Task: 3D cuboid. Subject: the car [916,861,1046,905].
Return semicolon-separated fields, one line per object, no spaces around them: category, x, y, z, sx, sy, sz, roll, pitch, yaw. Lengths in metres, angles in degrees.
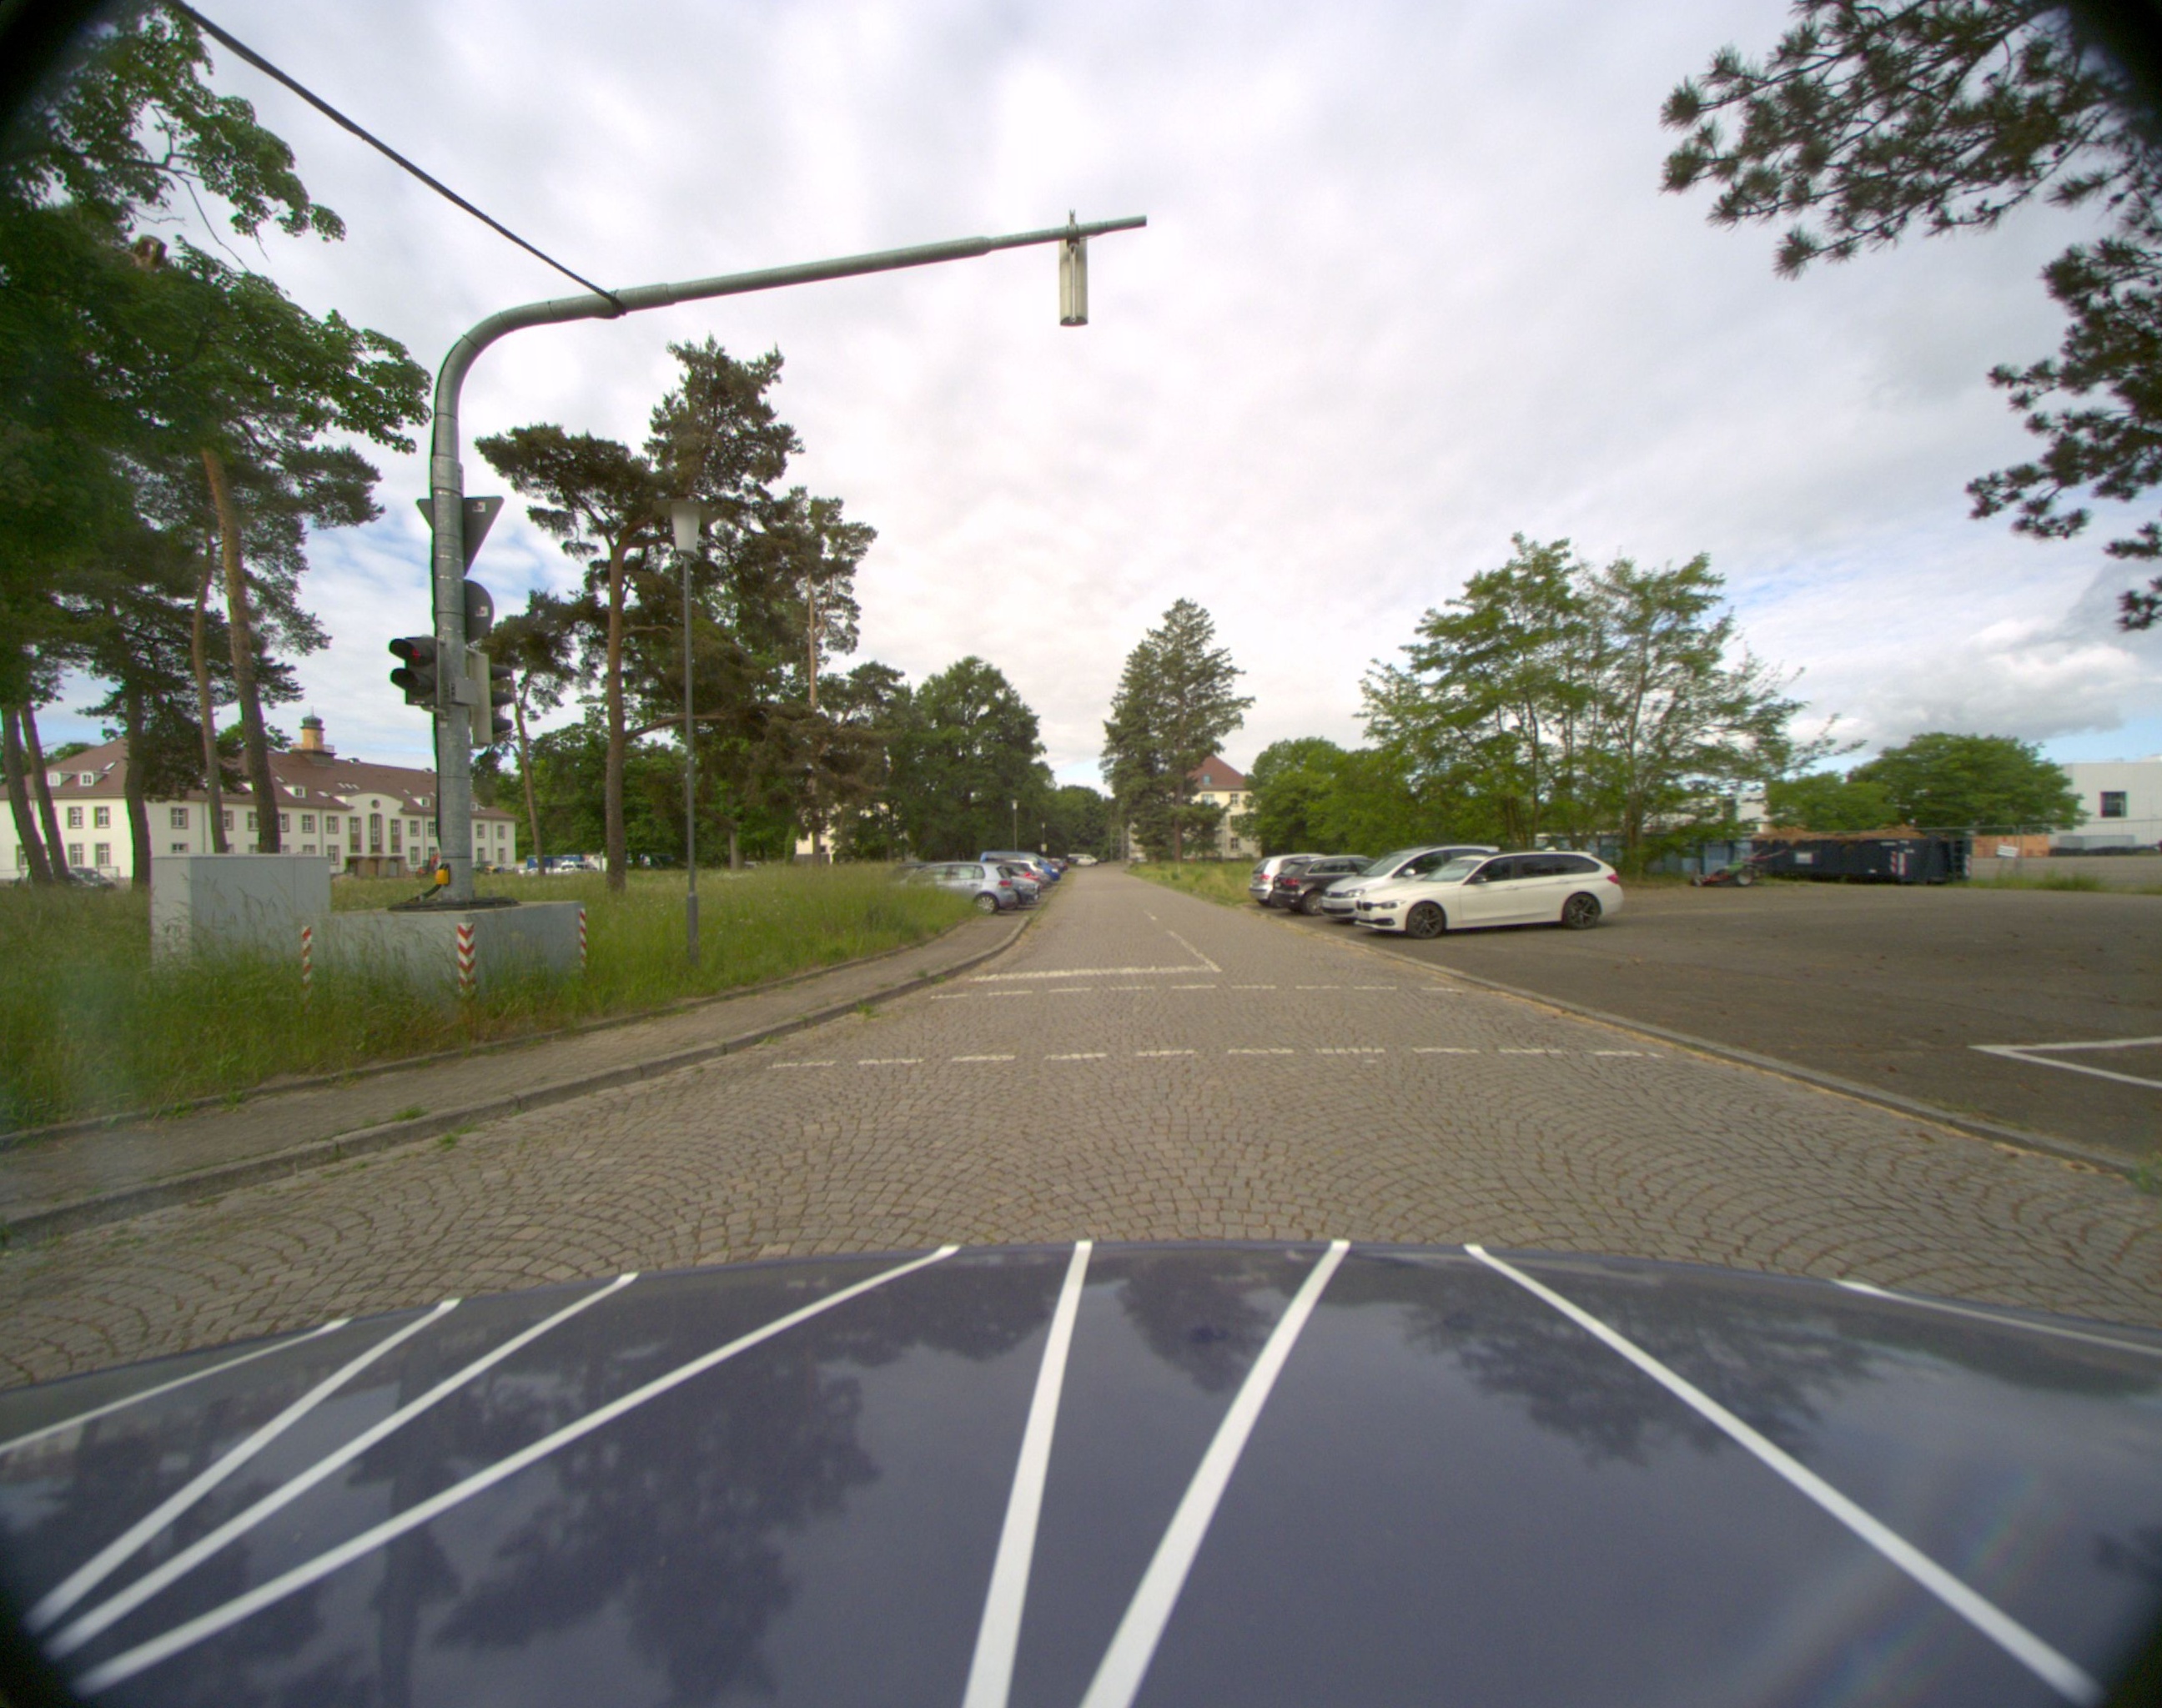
car;-3.409;0.985;26.412;4.247;1.465;1.717;0;0;3

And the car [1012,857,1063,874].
car;-3.654;0.969;64.126;4.083;1.436;1.726;0;0;2

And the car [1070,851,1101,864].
car;0.772;0.626;127.810;5.149;2.137;1.774;0;0;-3

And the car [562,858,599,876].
car;-66.908;1.711;101.605;1.862;2.351;4.447;-2;1;1

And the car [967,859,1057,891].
car;-3.294;0.983;36.568;4.097;1.507;1.700;0;0;3

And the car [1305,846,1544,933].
car;7.406;0.724;16.640;4.375;1.588;1.872;-3;1;-5

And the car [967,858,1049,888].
car;-3.756;0.989;39.493;4.049;1.507;1.601;0;0;3

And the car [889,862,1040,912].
car;-3.536;0.998;23.667;4.439;1.375;1.664;2;0;-1

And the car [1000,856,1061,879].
car;-3.556;0.963;53.809;4.083;1.584;1.654;0;0;3

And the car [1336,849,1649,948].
car;7.457;0.779;14.088;4.751;1.479;1.867;-3;0;-2

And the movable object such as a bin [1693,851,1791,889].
movable object such as a bin;20.097;0.487;23.132;2.267;1.119;0.858;0;1;-1

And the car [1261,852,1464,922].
car;7.040;0.796;19.285;4.446;1.416;1.722;-3;1;-2

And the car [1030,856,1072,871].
car;-3.095;1.029;79.162;4.091;1.524;1.727;0;0;8

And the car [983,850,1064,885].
car;-3.359;0.758;44.905;4.601;1.994;1.912;0;1;2

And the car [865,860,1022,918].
car;-3.723;0.947;21.040;4.011;1.420;1.698;2;0;-1

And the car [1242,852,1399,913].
car;6.862;0.781;21.960;3.960;1.462;1.584;-3;1;-3

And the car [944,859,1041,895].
car;-3.889;0.995;33.746;4.049;1.507;1.601;0;0;3

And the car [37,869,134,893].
car;-93.871;2.561;71.691;5.794;1.949;2.194;-2;1;-4

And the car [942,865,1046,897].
car;-3.514;1.094;31.077;4.050;1.233;1.549;0;0;1

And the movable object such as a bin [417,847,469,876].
movable object such as a bin;-87.197;1.028;103.901;5.458;3.748;2.053;-2;1;4
